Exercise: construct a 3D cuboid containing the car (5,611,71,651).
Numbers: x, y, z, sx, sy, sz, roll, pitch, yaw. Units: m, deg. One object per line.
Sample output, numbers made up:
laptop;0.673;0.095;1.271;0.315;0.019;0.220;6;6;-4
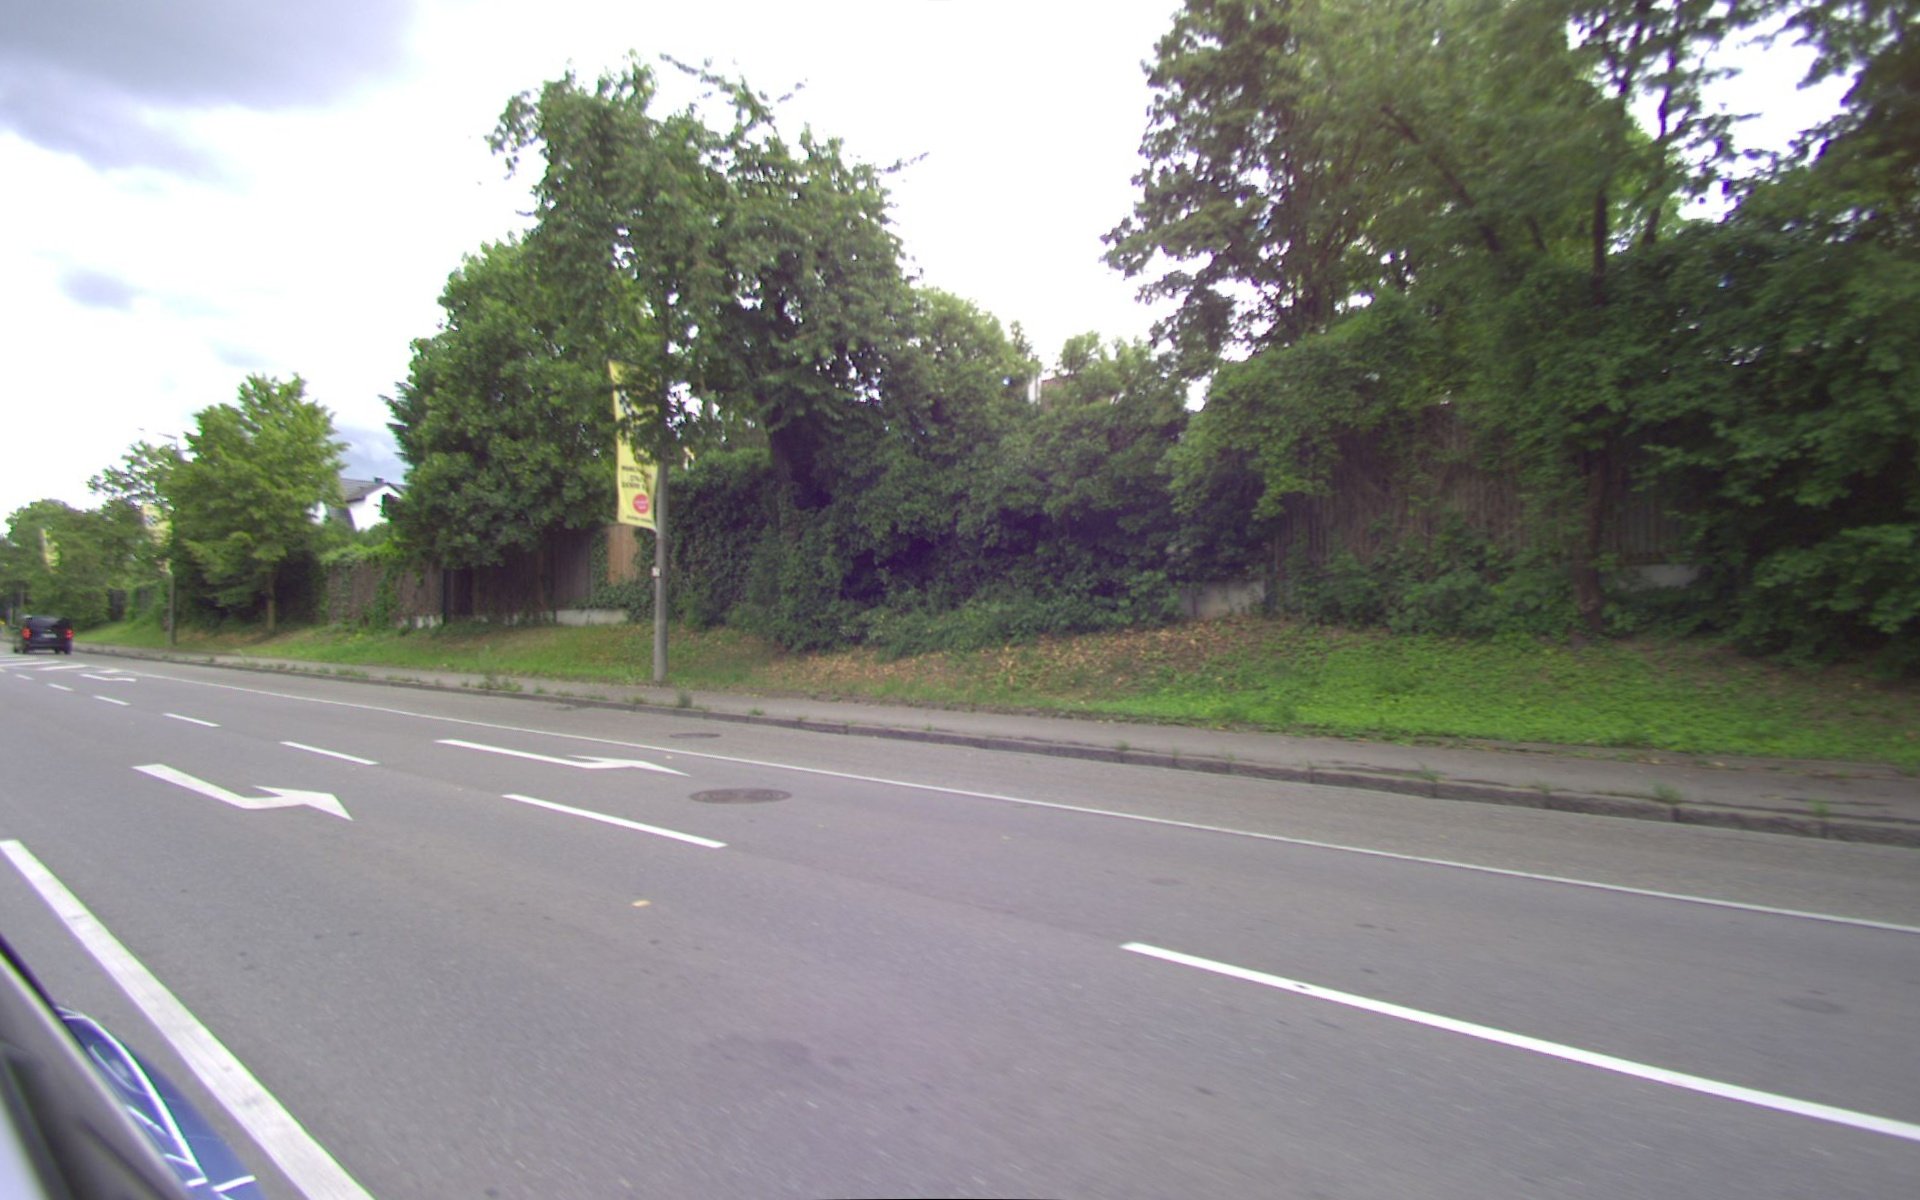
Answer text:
car;-46.139;1.557;50.640;4.685;1.919;1.785;-1;-3;40
